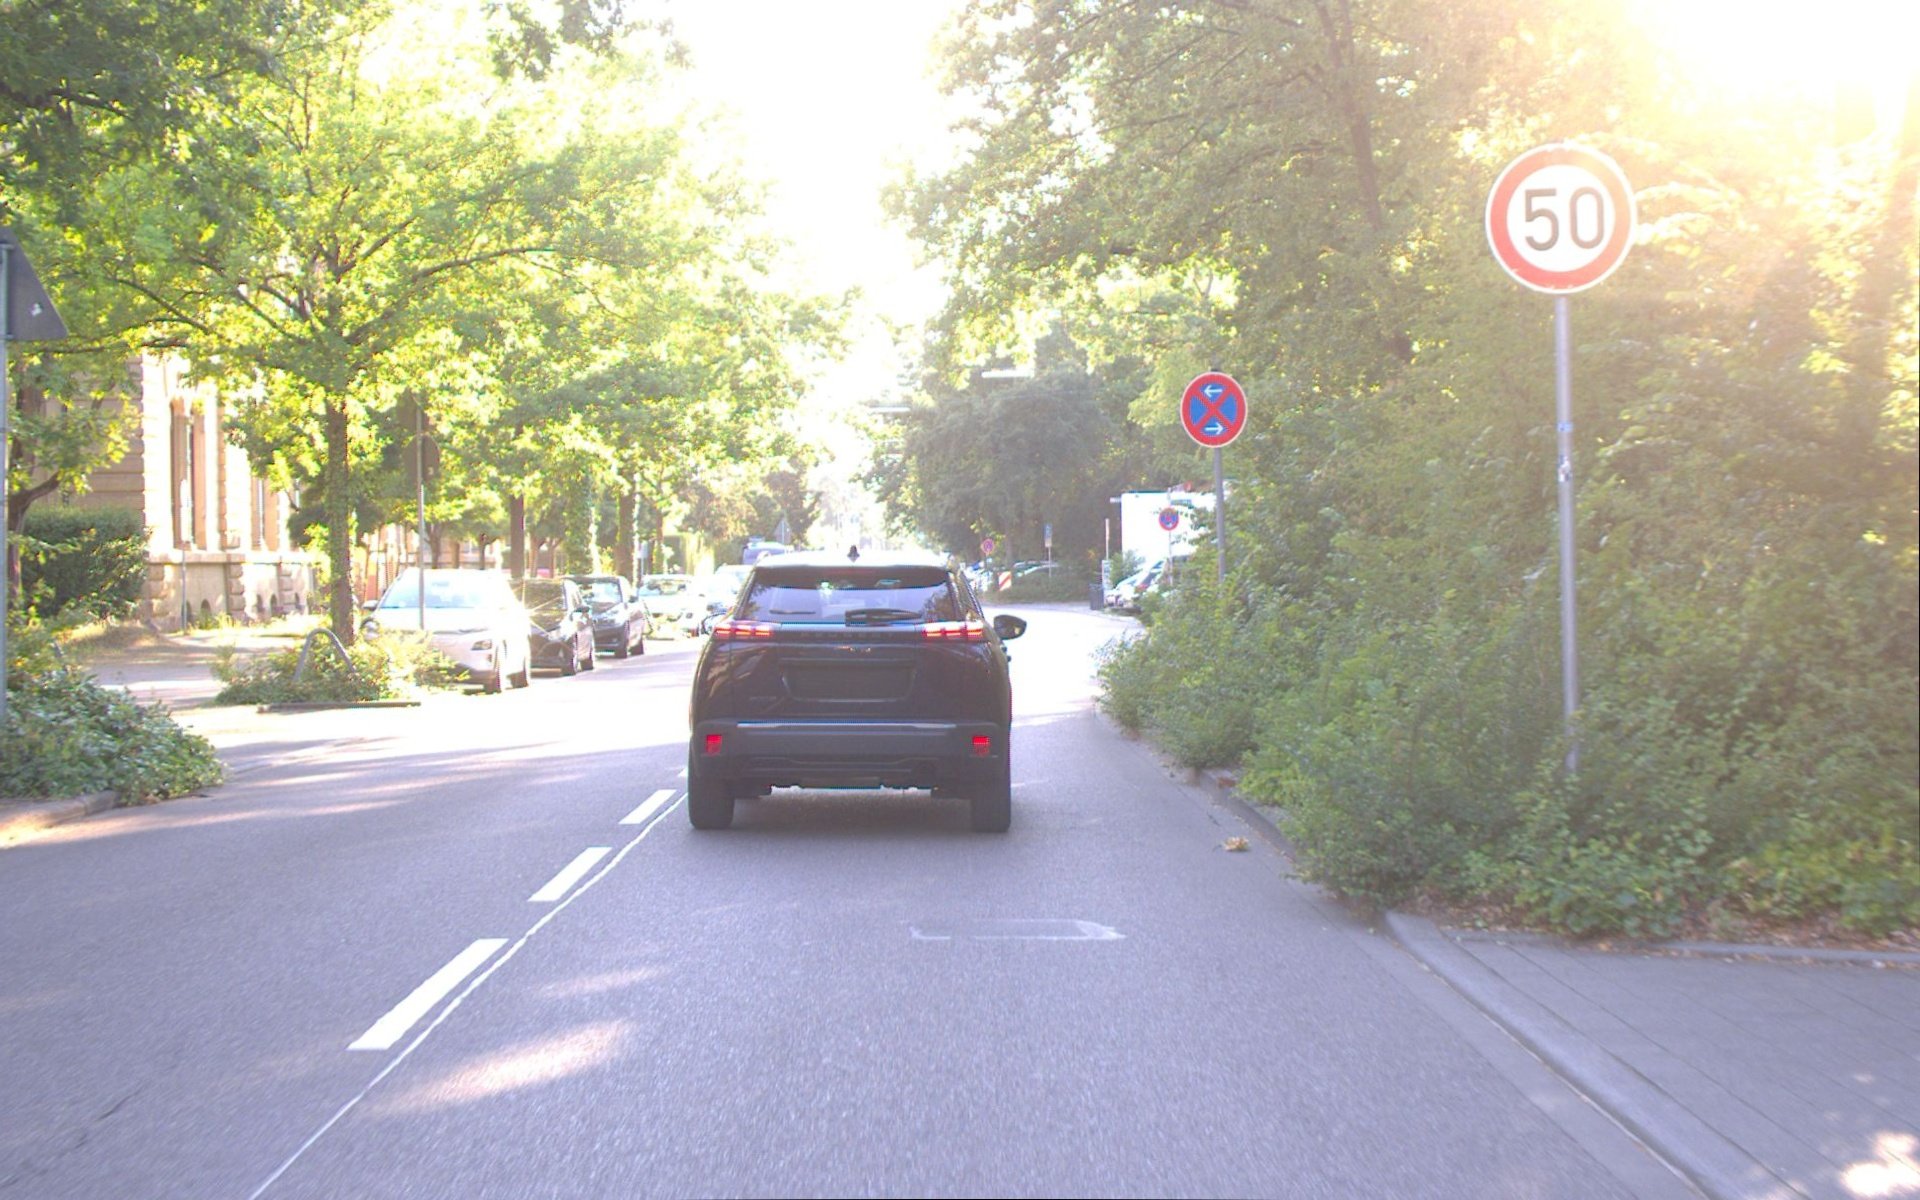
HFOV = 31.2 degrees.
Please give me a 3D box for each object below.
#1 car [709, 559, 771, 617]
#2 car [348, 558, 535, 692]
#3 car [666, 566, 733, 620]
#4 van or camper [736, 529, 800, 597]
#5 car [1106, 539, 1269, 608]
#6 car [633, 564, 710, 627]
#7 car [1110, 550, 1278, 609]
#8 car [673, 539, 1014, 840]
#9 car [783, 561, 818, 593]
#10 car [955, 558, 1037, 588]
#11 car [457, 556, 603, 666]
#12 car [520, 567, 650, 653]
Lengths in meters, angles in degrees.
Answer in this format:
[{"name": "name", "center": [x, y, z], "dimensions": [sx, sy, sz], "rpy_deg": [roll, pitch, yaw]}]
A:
[{"name": "car", "center": [-7.313, -0.419, 114.802], "dimensions": [1.777, 1.859, 4.332], "rpy_deg": [2, 1, 0]}, {"name": "car", "center": [-6.572, 0.287, 43.963], "dimensions": [1.803, 1.610, 4.147], "rpy_deg": [-1, 0, -1]}, {"name": "car", "center": [-7.292, -0.212, 96.532], "dimensions": [1.617, 1.491, 4.377], "rpy_deg": [0, 1, -1]}, {"name": "van or camper", "center": [-7.445, -1.427, 133.856], "dimensions": [2.229, 2.536, 7.080], "rpy_deg": [1, 0, -1]}, {"name": "car", "center": [7.131, -0.848, 108.068], "dimensions": [4.852, 1.909, 1.916], "rpy_deg": [-3, 1, -1]}, {"name": "car", "center": [-7.019, -0.126, 83.845], "dimensions": [1.617, 1.491, 3.925], "rpy_deg": [0, 1, -1]}, {"name": "car", "center": [7.175, -0.644, 105.751], "dimensions": [4.926, 1.548, 1.916], "rpy_deg": [-3, 1, -1]}, {"name": "car", "center": [-0.630, 0.431, 19.992], "dimensions": [1.771, 1.563, 4.109], "rpy_deg": [0, 1, -1]}, {"name": "car", "center": [-7.849, -1.135, 169.424], "dimensions": [1.613, 1.510, 3.712], "rpy_deg": [-3, 0, -2]}, {"name": "car", "center": [1.902, -1.449, 184.565], "dimensions": [4.242, 1.444, 2.022], "rpy_deg": [-2, 0, -3]}, {"name": "car", "center": [-6.510, 0.151, 52.431], "dimensions": [1.780, 1.610, 4.147], "rpy_deg": [0, 0, -1]}, {"name": "car", "center": [-6.793, 0.157, 62.725], "dimensions": [1.802, 1.505, 4.862], "rpy_deg": [0, 0, 0]}]
